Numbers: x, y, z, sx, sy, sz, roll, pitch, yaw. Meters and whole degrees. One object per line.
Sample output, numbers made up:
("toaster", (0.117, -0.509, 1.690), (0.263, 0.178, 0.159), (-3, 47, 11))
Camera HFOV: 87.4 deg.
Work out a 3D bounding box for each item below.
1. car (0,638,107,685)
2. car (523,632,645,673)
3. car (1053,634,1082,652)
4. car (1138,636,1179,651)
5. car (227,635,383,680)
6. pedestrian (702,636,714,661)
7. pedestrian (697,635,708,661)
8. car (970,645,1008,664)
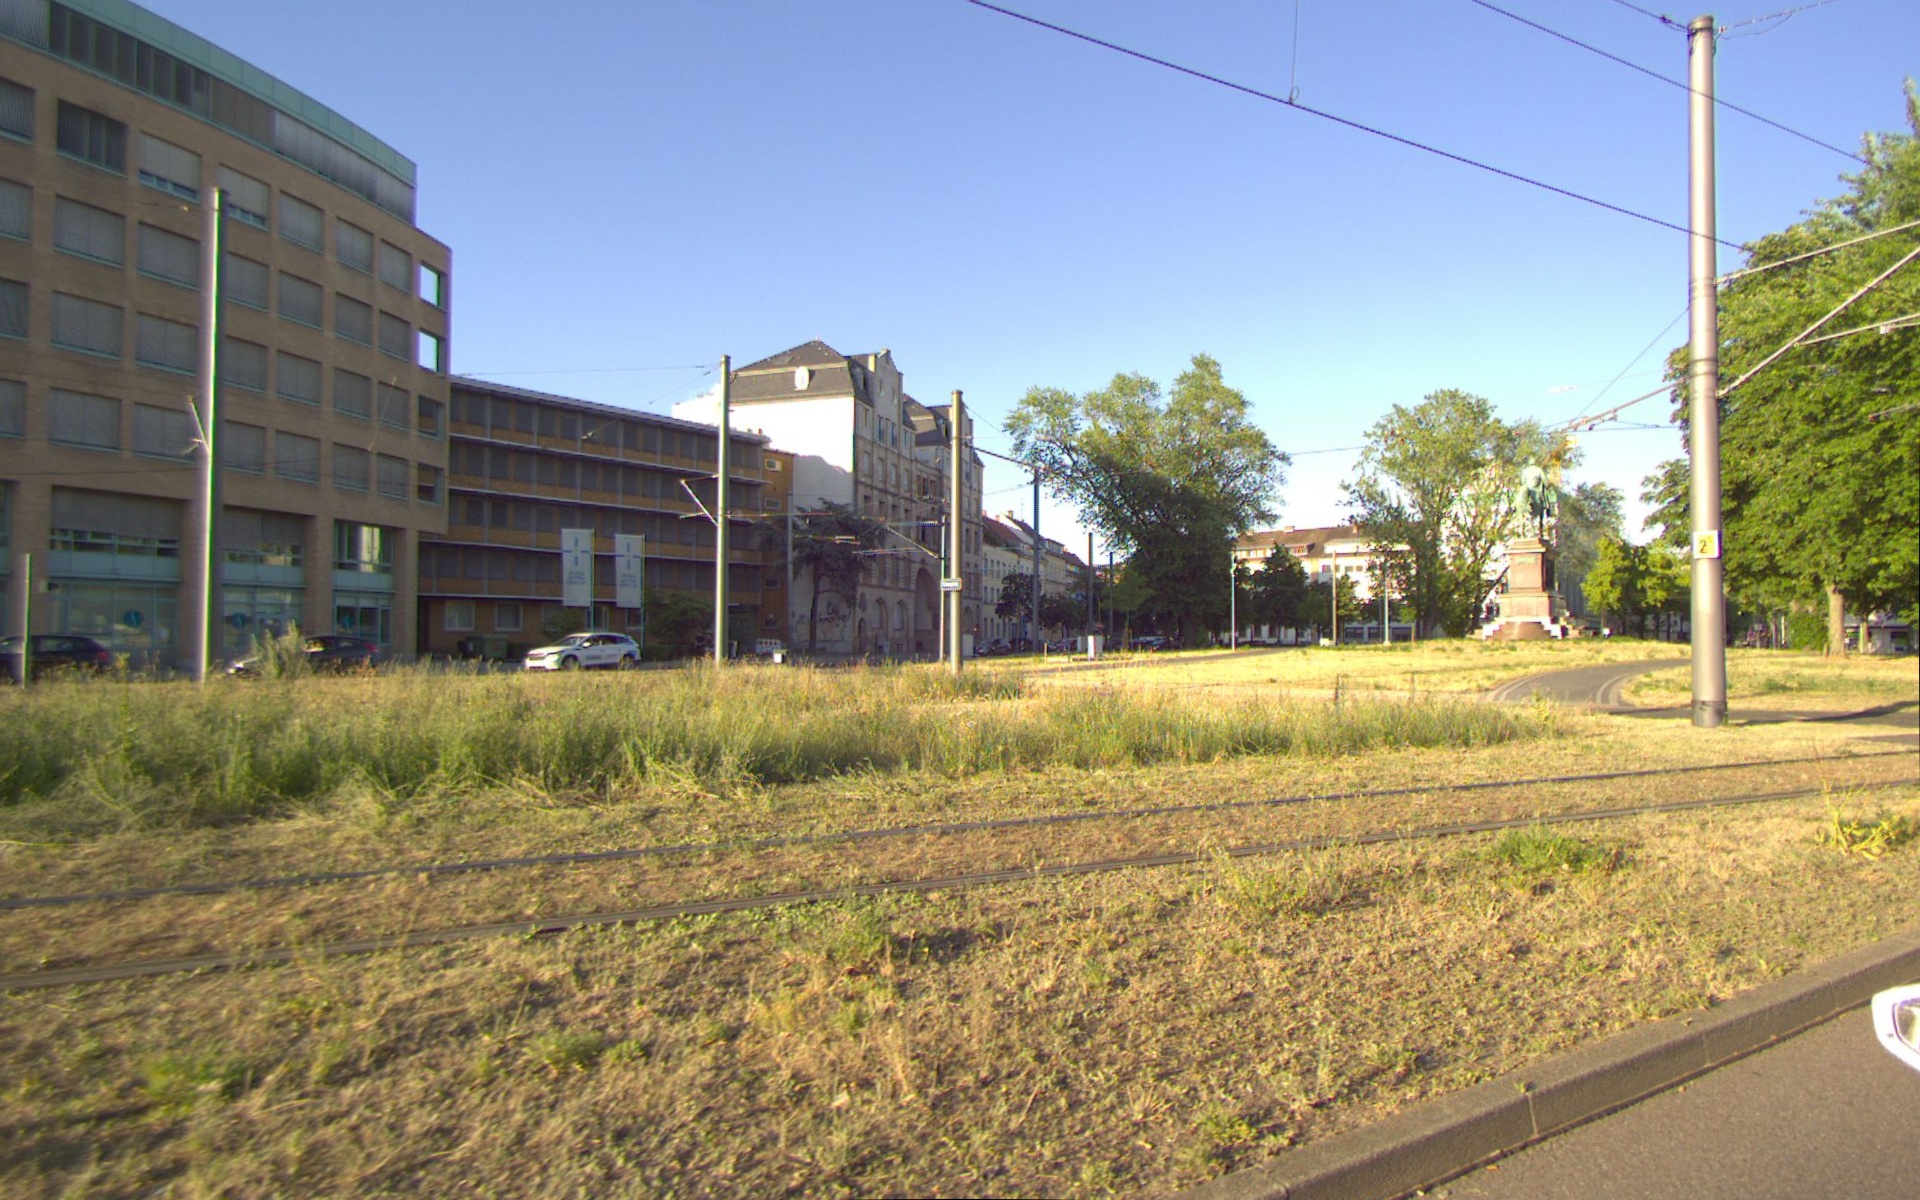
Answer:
("car", (-24.351, 1.564, 25.744), (1.502, 1.169, 3.583), (-1, -2, 39))
("car", (-14.396, 1.975, 38.713), (1.744, 1.502, 4.302), (-1, -2, 30))
("car", (9.193, 3.655, 85.748), (1.524, 1.372, 3.520), (1, -1, 22))
("car", (18.385, 4.038, 93.095), (3.472, 1.372, 1.545), (1, -1, -24))
("car", (-20.065, 1.727, 30.882), (1.627, 1.298, 3.721), (-1, -2, 41))
("pedestrian", (-14.259, 2.741, 56.877), (0.409, 1.449, 0.483), (-1, -2, 41))
("pedestrian", (-14.689, 2.739, 57.332), (0.409, 1.449, 0.483), (-1, -2, 41))
("car", (2.183, 4.038, 74.959), (1.540, 1.275, 3.727), (0, -2, 23))
